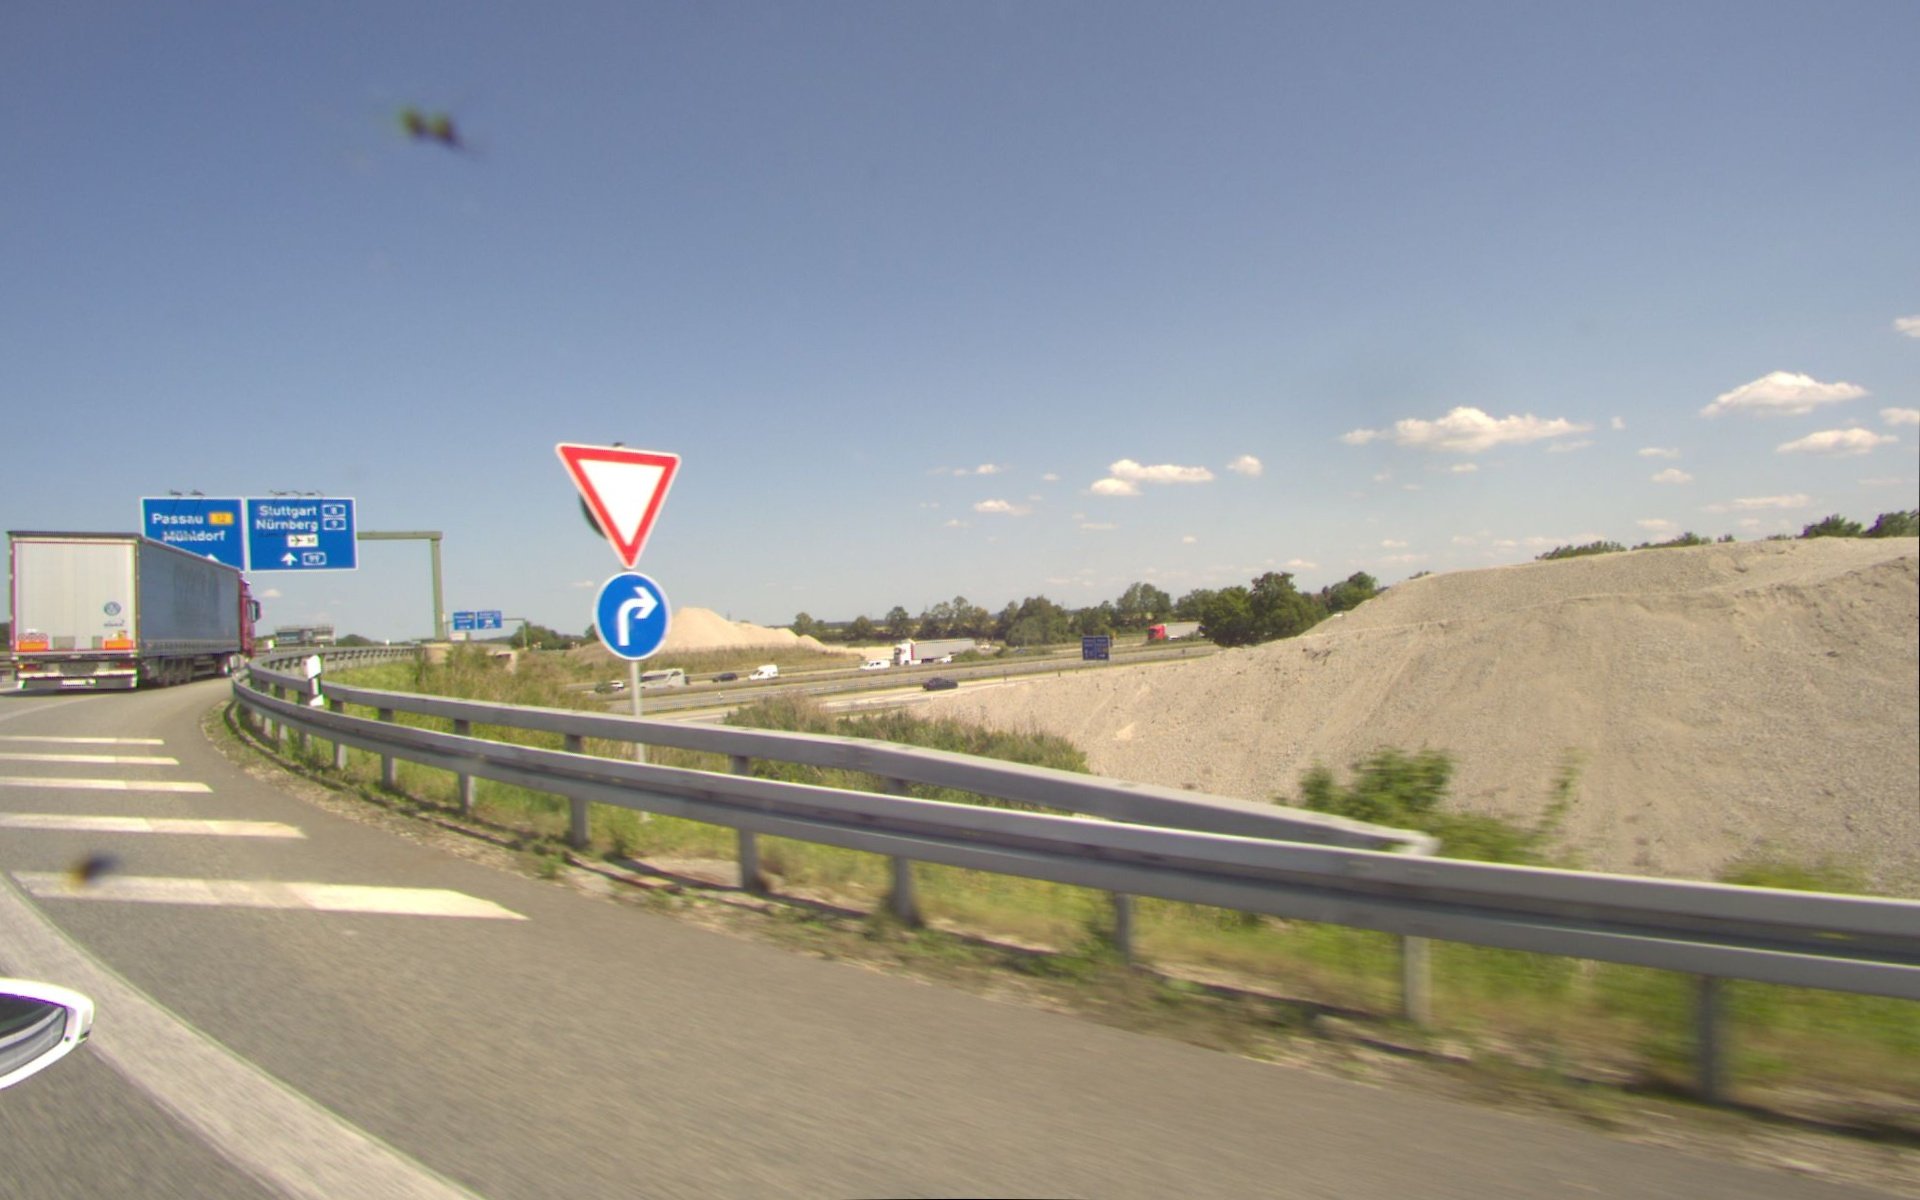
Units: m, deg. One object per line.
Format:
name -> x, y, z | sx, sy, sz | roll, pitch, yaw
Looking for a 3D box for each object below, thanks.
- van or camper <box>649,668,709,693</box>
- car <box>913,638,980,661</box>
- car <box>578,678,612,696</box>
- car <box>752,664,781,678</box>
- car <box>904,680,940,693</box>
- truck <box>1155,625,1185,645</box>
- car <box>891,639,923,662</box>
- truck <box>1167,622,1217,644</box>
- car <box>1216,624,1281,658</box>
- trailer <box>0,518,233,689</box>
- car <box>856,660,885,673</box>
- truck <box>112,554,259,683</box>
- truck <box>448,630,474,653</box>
van or camper -> -42.145, 12.030, 150.443 | 8.046, 3.031, 2.972 | -2, -4, -33
car -> -2.346, 9.051, 182.767 | 12.837, 4.013, 2.469 | 1, -3, -33
car -> -48.396, 11.532, 132.777 | 3.951, 2.036, 1.867 | 1, -7, -37
car -> -29.787, 10.990, 154.262 | 3.943, 2.039, 1.795 | 1, -2, -30
car -> -4.617, 10.464, 121.262 | 3.955, 1.593, 1.985 | 3, -4, -39
truck -> 45.424, 7.566, 216.402 | 5.876, 4.117, 2.853 | -3, -1, -34
car -> -9.423, 9.016, 178.239 | 5.090, 4.013, 2.469 | 1, -2, -33
truck -> 51.135, 7.314, 220.234 | 12.407, 4.117, 2.853 | -3, -1, -34
car -> 33.188, 4.733, 115.299 | 6.943, 3.673, 2.001 | 0, -3, 10
trailer -> -24.779, 0.421, 30.177 | 2.877, 4.196, 11.218 | 0, -3, -27
car -> -14.716, 10.965, 165.071 | 4.350, 2.039, 1.989 | 1, -3, -33
truck -> -27.889, 0.799, 36.416 | 2.877, 4.196, 6.902 | 0, -3, -26
truck -> -95.350, 7.966, 191.517 | 3.493, 4.195, 11.230 | 2, -4, -23
